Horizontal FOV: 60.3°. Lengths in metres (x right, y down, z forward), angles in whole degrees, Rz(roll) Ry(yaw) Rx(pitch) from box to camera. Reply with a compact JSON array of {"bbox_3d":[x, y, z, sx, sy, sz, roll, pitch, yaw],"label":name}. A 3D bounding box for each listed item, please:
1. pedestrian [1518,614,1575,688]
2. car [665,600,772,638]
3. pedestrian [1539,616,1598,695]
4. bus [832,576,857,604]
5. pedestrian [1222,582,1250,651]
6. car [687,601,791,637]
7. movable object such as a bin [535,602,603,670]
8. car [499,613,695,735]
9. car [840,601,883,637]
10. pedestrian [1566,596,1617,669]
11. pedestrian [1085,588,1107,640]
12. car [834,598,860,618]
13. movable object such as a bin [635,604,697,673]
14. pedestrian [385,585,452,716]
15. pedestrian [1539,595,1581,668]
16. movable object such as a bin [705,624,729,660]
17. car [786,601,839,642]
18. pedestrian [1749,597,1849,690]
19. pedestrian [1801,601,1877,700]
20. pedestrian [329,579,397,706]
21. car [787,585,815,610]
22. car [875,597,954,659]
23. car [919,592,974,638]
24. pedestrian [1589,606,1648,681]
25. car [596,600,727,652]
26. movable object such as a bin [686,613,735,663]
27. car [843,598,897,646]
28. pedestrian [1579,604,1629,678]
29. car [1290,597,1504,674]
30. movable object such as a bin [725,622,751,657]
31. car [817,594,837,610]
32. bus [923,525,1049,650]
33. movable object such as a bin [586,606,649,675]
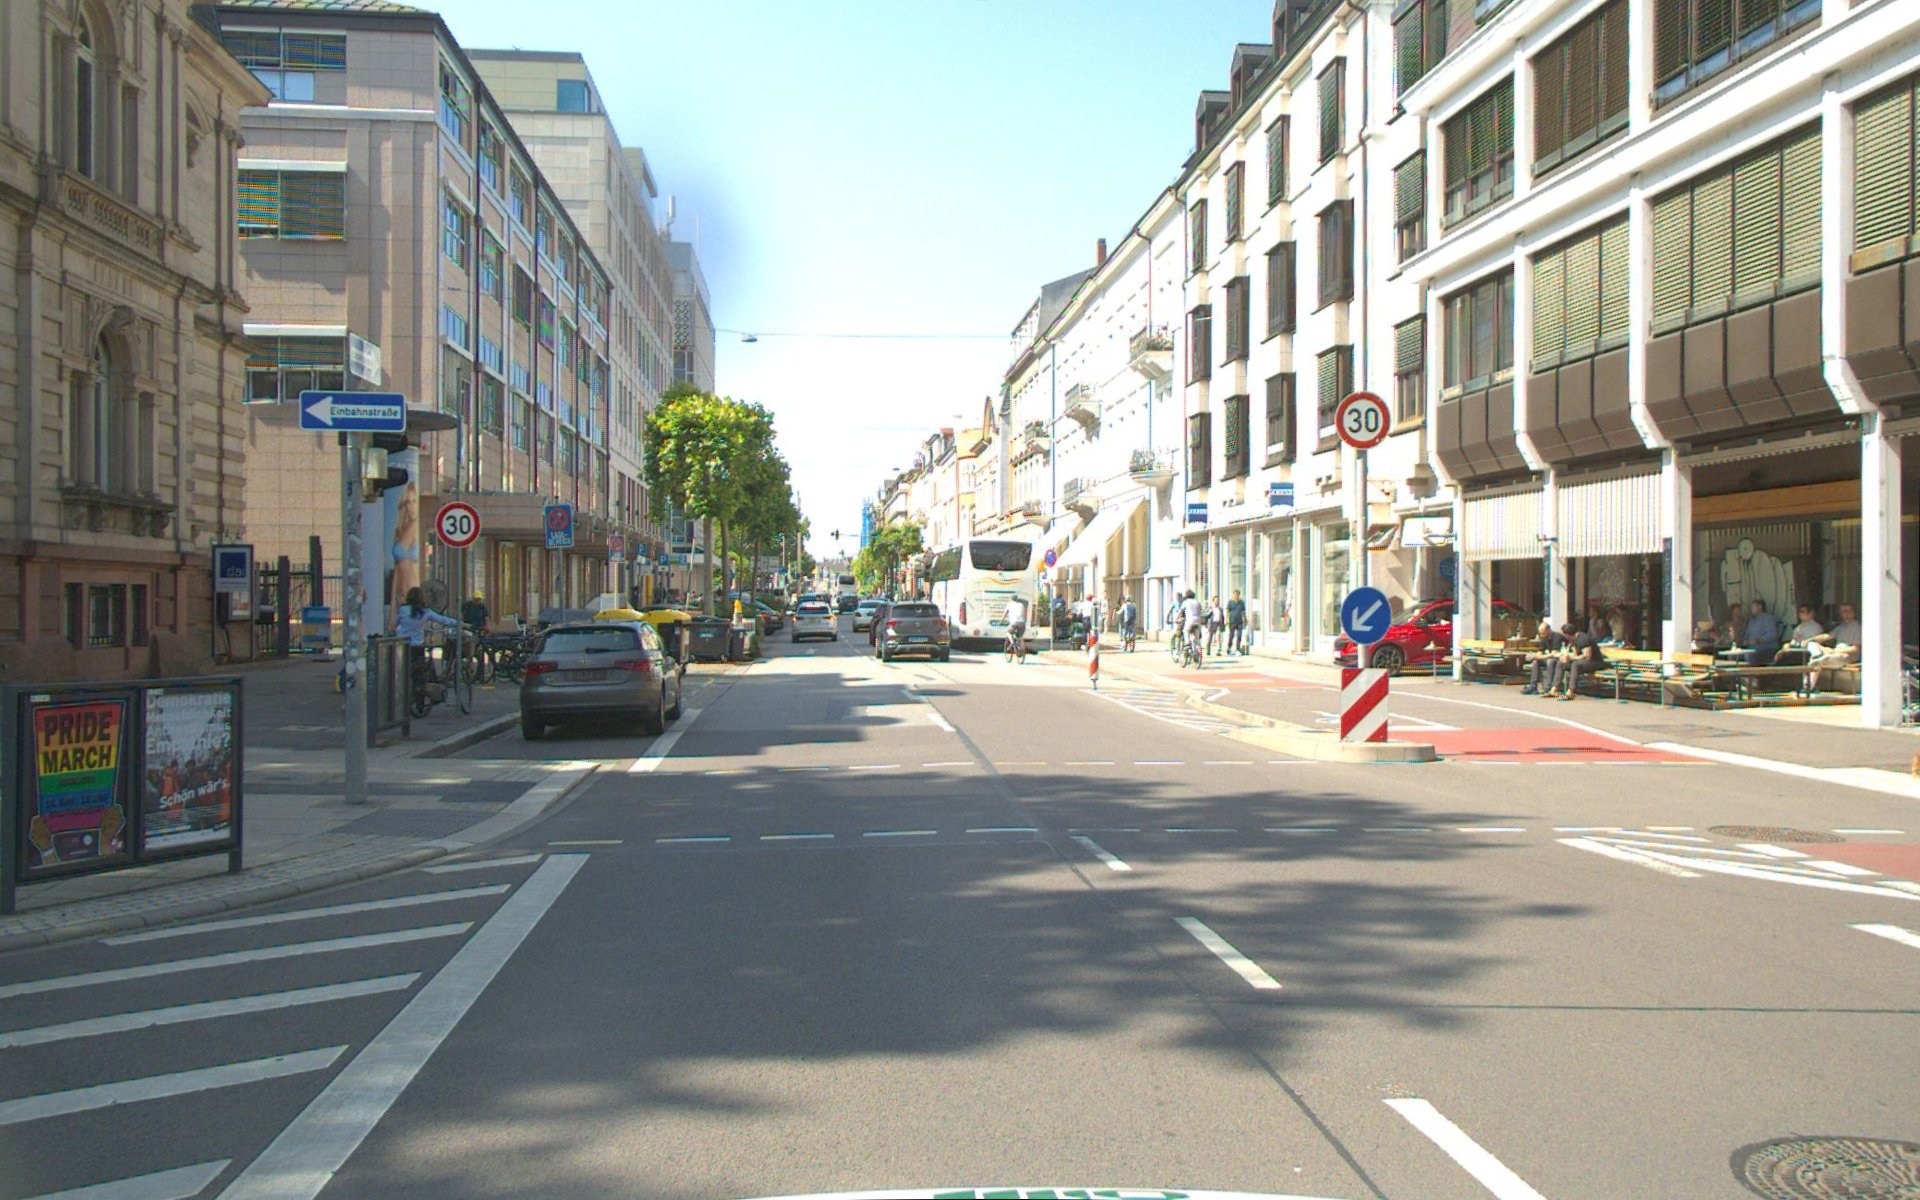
[{"bbox_3d":[9.643,0.841,27.205,0.696,1.193,0.697,0,-2,3],"label":"pedestrian"},{"bbox_3d":[-10.604,0.812,72.497,4.664,1.560,1.982,1,0,37],"label":"car"},{"bbox_3d":[9.690,0.886,26.347,0.696,1.238,0.697,0,-2,3],"label":"pedestrian"},{"bbox_3d":[-15.186,-1.316,217.219,2.718,3.668,8.957,0,0,-8],"label":"bus"},{"bbox_3d":[7.642,0.473,45.852,0.680,1.883,0.836,0,-2,3],"label":"pedestrian"},{"bbox_3d":[-10.122,0.858,75.530,4.700,1.447,1.876,2,1,35],"label":"car"},{"bbox_3d":[-8.951,0.819,37.928,1.184,1.476,1.364,2,1,0],"label":"movable object such as a bin"},{"bbox_3d":[-4.655,0.894,21.810,1.898,1.378,4.246,-1,0,-4],"label":"car"},{"bbox_3d":[-4.585,0.915,76.518,1.798,1.554,3.995,-2,-1,-6],"label":"car"},{"bbox_3d":[12.161,0.627,31.846,0.730,1.391,0.583,0,0,-6],"label":"pedestrian"},{"bbox_3d":[4.550,0.465,55.231,0.608,1.750,0.834,0,0,-5],"label":"pedestrian"},{"bbox_3d":[-8.555,0.576,124.902,1.827,1.466,3.995,0,0,-6],"label":"car"},{"bbox_3d":[-6.704,0.862,37.798,1.100,1.476,1.439,2,1,1],"label":"movable object such as a bin"},{"bbox_3d":[-7.253,0.671,22.174,0.680,1.725,0.690,0,-2,-3],"label":"pedestrian"},{"bbox_3d":[11.566,0.597,31.881,0.525,1.391,0.688,0,0,-5],"label":"pedestrian"},{"bbox_3d":[-6.736,1.153,45.826,0.488,0.955,0.556,-1,1,11],"label":"movable object such as a bin"},{"bbox_3d":[-5.777,0.855,64.319,1.828,1.466,3.992,1,-2,-8],"label":"car"},{"bbox_3d":[12.668,0.652,25.003,0.878,1.374,1.104,0,-2,-6],"label":"pedestrian"},{"bbox_3d":[12.772,0.730,24.047,0.697,1.421,0.696,0,-2,-6],"label":"pedestrian"},{"bbox_3d":[-8.174,0.583,22.660,0.537,1.694,0.937,0,-2,3],"label":"pedestrian"},{"bbox_3d":[-9.785,-0.169,101.776,1.709,1.466,3.995,0,0,-6],"label":"car"},{"bbox_3d":[-1.257,0.734,44.253,1.798,1.554,3.995,1,-1,-6],"label":"car"},{"bbox_3d":[-0.638,0.641,73.824,1.793,1.896,4.346,2,0,-9],"label":"car"},{"bbox_3d":[12.281,0.807,30.851,0.860,1.391,0.536,0,0,-7],"label":"pedestrian"},{"bbox_3d":[-9.565,0.797,52.948,3.977,1.520,1.928,1,1,36],"label":"car"},{"bbox_3d":[-6.715,1.016,44.540,1.252,1.322,0.852,0,0,-5],"label":"movable object such as a bin"},{"bbox_3d":[-3.172,0.791,57.859,1.797,1.554,3.996,-2,-1,-4],"label":"car"},{"bbox_3d":[12.188,0.769,31.307,0.746,1.391,0.477,0,0,-7],"label":"pedestrian"},{"bbox_3d":[9.131,0.763,34.741,3.965,1.521,1.840,0,-2,-4],"label":"car"},{"bbox_3d":[-6.195,1.094,46.125,0.548,0.955,0.495,-2,1,-31],"label":"movable object such as a bin"},{"bbox_3d":[-13.167,0.214,163.696,1.827,1.466,3.994,-1,-2,-6],"label":"car"},{"bbox_3d":[0.693,-0.383,57.983,2.826,3.807,12.410,2,0,-6],"label":"bus"},{"bbox_3d":[-7.812,0.910,37.800,1.100,1.476,1.439,2,1,1],"label":"movable object such as a bin"}]
